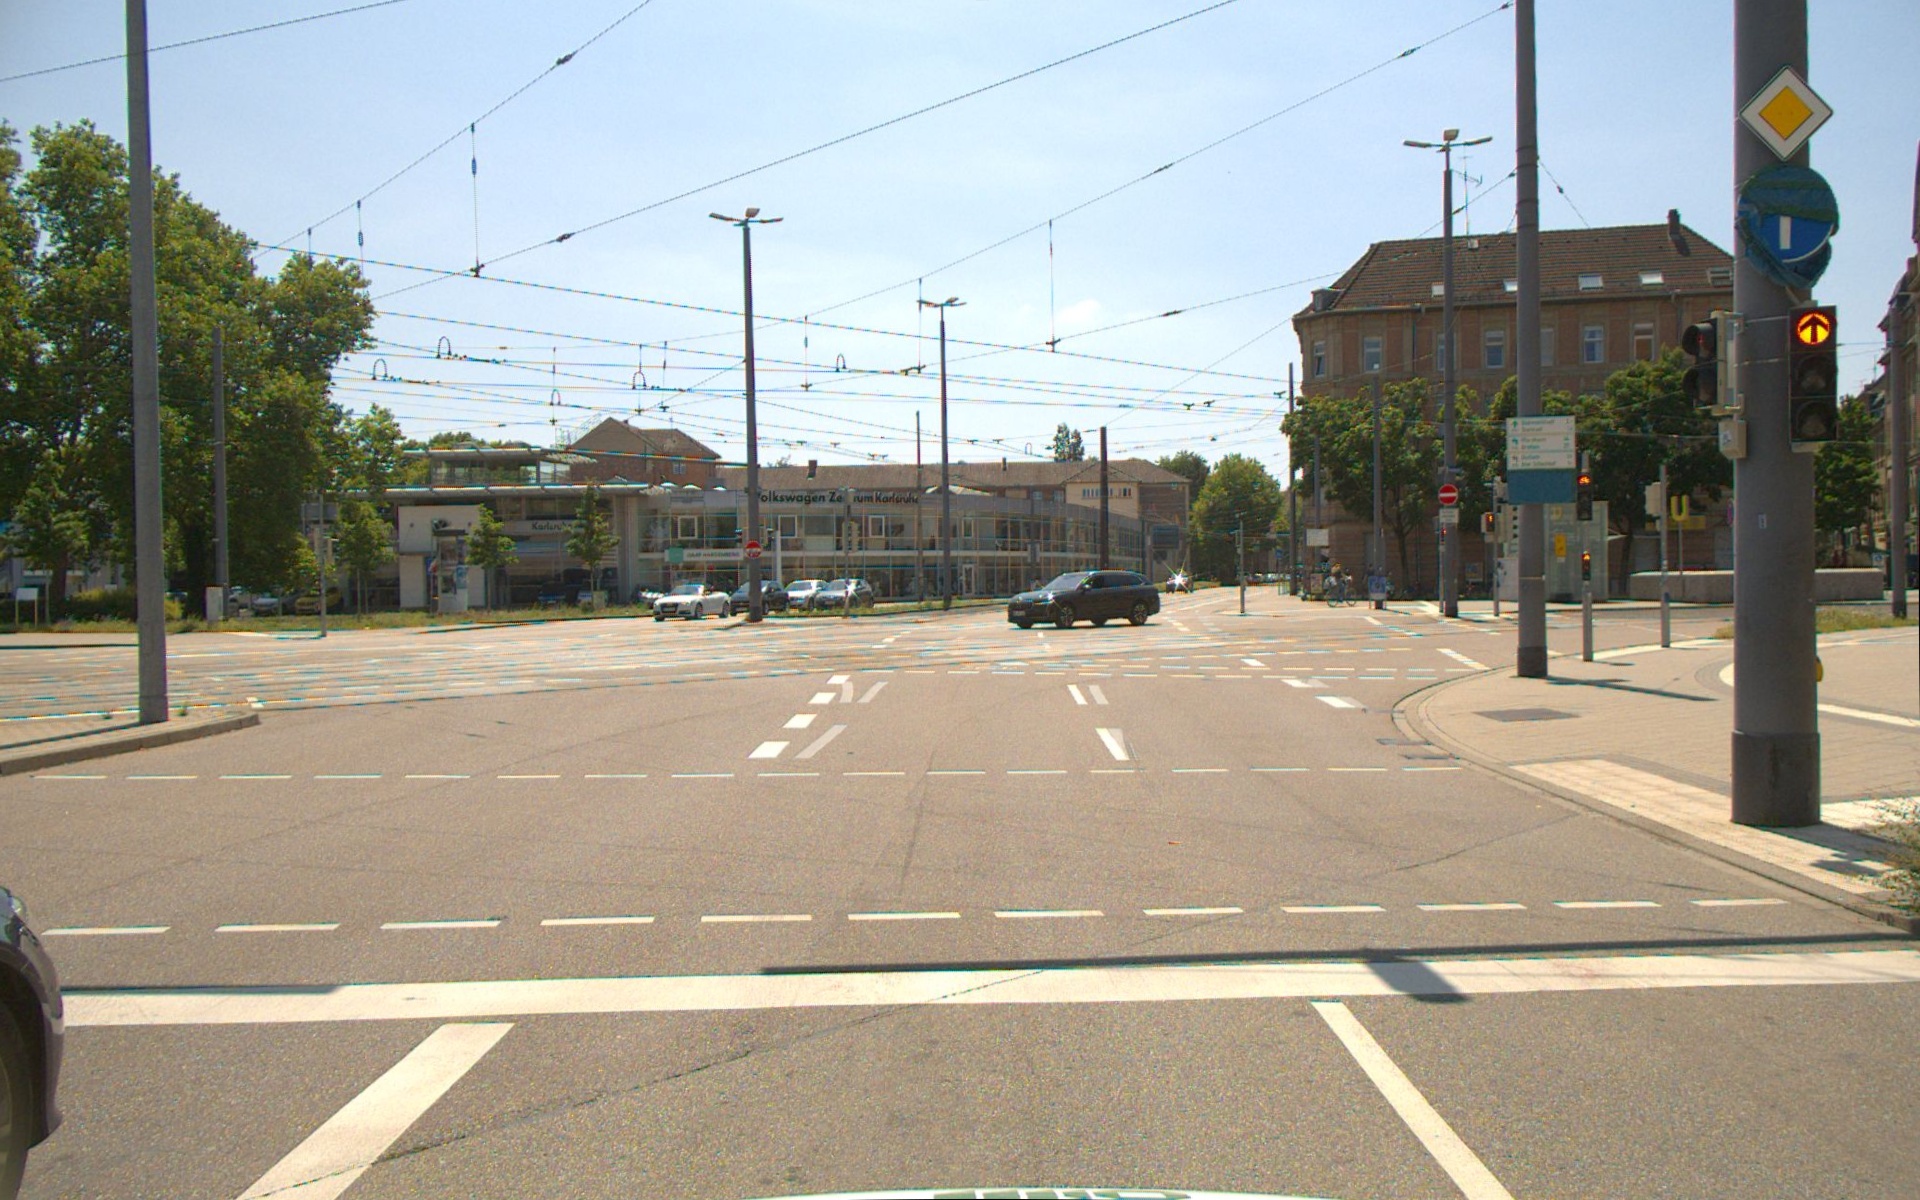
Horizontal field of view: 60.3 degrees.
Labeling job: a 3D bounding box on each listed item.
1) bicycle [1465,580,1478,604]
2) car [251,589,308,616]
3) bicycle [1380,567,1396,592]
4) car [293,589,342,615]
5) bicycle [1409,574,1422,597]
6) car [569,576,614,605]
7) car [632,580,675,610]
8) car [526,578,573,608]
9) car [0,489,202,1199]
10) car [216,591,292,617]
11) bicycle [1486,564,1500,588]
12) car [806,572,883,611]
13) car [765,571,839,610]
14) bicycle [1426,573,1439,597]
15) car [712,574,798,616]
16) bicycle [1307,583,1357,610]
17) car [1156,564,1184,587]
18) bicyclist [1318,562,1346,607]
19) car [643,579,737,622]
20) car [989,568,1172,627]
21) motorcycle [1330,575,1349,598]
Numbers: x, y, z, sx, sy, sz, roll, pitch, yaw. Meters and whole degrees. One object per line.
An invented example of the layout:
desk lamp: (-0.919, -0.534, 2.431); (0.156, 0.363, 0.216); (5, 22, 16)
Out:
bicycle: (25.030, -0.396, 80.966); (0.539, 1.139, 1.872); (-1, 1, 15)
car: (-42.074, 0.142, 102.365); (1.731, 1.536, 4.326); (-1, 1, 0)
bicycle: (21.153, -1.000, 81.687); (0.433, 1.166, 2.095); (1, 0, 6)
car: (-39.630, 0.082, 102.109); (1.733, 1.536, 4.322); (-1, 1, -6)
bicycle: (22.274, -0.713, 80.852); (0.539, 1.139, 1.822); (-1, 1, 14)
car: (-22.564, -0.567, 101.320); (1.881, 1.737, 3.999); (1, 0, -1)
car: (-18.801, -0.300, 101.626); (1.881, 1.737, 3.999); (1, 0, -1)
car: (-25.063, -0.411, 101.182); (1.881, 1.737, 3.999); (1, 0, -1)
car: (-2.773, 0.623, 1.742); (1.761, 1.669, 4.804); (1, 1, -1)
car: (-45.936, 0.248, 107.699); (4.279, 1.536, 1.750); (-1, 1, -37)
bicycle: (25.988, -1.178, 80.650); (0.539, 1.139, 1.931); (-1, 1, 15)
car: (-5.153, -0.398, 74.418); (1.951, 1.666, 4.850); (-1, 1, 16)
car: (-7.400, -0.456, 77.886); (1.951, 1.770, 4.547); (-1, 1, 16)
bicycle: (23.041, -0.719, 80.702); (0.539, 1.139, 1.822); (-1, 1, 15)
car: (-8.858, -0.244, 71.910); (1.951, 1.730, 4.850); (-1, 1, 16)
bicycle: (15.402, -0.131, 68.462); (2.080, 1.071, 0.687); (1, 0, -26)
car: (17.405, -2.015, 136.990); (1.951, 1.807, 4.003); (1, 0, 12)
bicyclist: (15.420, -0.649, 68.495); (1.047, 1.839, 0.475); (1, -1, -26)
car: (-10.651, -0.020, 65.731); (2.032, 1.607, 4.851); (-1, 1, 12)
car: (3.318, -0.091, 45.282); (4.783, 1.491, 1.978); (-1, 1, -32)
motorcycle: (18.646, -0.662, 81.299); (0.568, 1.093, 1.947); (-1, 1, 3)
